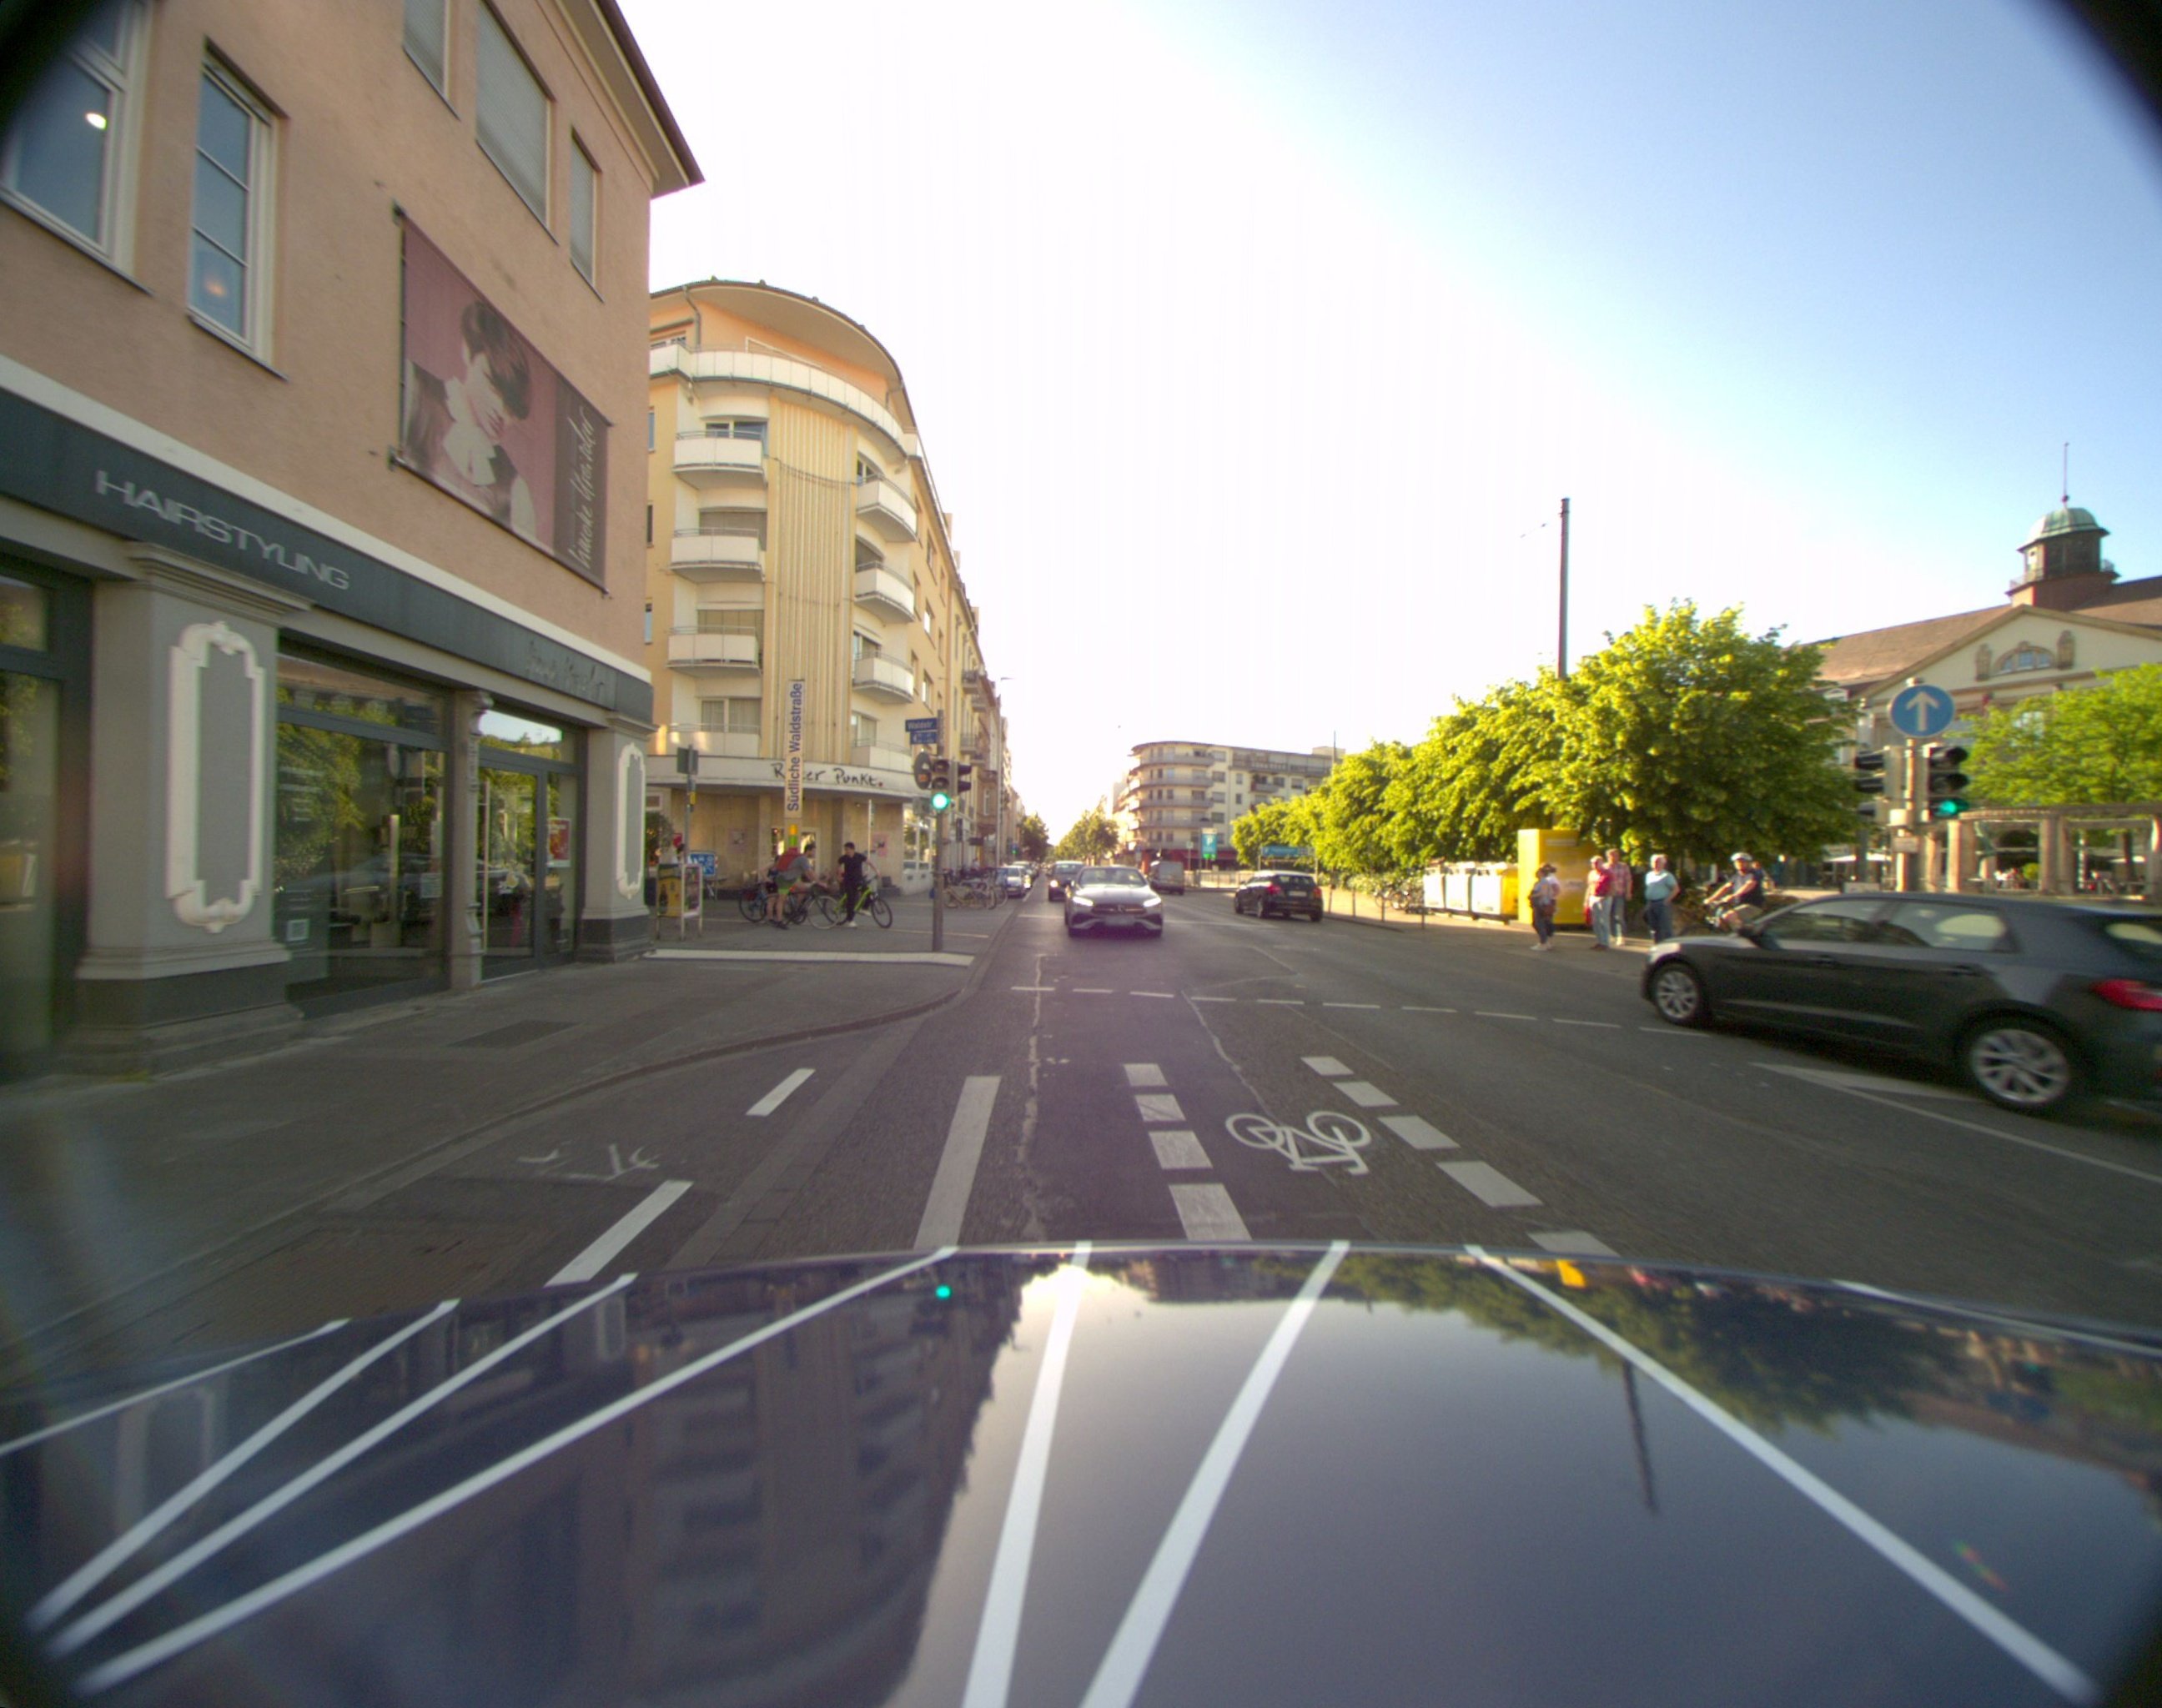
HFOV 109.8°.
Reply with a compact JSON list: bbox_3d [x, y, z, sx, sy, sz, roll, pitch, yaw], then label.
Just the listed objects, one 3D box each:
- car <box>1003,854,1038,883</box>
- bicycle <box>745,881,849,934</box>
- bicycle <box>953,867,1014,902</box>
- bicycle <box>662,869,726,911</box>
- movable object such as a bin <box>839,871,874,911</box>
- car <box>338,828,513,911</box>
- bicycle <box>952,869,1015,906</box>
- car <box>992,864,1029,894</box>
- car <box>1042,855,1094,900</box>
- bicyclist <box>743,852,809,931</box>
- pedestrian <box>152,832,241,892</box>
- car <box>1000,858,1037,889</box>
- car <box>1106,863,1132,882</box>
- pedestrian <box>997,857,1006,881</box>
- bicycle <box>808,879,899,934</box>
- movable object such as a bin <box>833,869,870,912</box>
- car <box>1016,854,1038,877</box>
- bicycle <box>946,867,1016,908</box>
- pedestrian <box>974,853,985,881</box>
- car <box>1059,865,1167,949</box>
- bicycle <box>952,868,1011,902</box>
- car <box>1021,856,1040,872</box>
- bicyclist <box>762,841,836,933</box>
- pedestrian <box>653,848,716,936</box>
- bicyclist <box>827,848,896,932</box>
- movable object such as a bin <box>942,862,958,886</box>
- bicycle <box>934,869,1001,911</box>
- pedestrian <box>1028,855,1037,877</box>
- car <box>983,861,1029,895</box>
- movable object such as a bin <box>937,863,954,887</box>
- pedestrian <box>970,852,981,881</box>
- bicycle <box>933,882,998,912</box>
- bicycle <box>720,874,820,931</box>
[{"bbox_3d":[-4.084,0.960,50.856,2.000,1.867,3.997,1,0,-8],"label":"car"},{"bbox_3d":[-5.607,1.057,15.045,1.820,0.988,0.565,1,0,0],"label":"bicycle"},{"bbox_3d":[-3.405,1.069,26.571,2.027,1.143,0.715,2,0,-2],"label":"bicycle"},{"bbox_3d":[-10.579,0.955,20.841,0.560,1.082,1.752,1,0,14],"label":"bicycle"},{"bbox_3d":[-6.295,1.032,21.319,0.810,1.106,0.620,1,0,-4],"label":"movable object such as a bin"},{"bbox_3d":[-20.855,0.415,24.211,4.686,2.455,2.072,0,2,19],"label":"car"},{"bbox_3d":[-3.225,1.110,25.266,1.962,1.150,0.755,1,0,-2],"label":"bicycle"},{"bbox_3d":[-3.584,1.227,38.791,1.742,1.417,3.998,1,0,-5],"label":"car"},{"bbox_3d":[-0.580,0.919,31.844,1.999,1.718,3.999,1,0,-2],"label":"car"},{"bbox_3d":[-6.329,0.748,15.769,1.028,1.574,0.727,1,0,19],"label":"bicyclist"},{"bbox_3d":[-22.579,0.177,19.422,1.082,1.472,1.113,1,1,15],"label":"pedestrian"},{"bbox_3d":[-3.666,1.089,44.667,1.999,1.724,4.197,1,0,-4],"label":"car"},{"bbox_3d":[3.442,1.682,69.623,1.846,1.537,4.238,3,0,-4],"label":"car"},{"bbox_3d":[-6.282,1.207,60.258,0.695,1.895,0.906,1,0,-5],"label":"pedestrian"},{"bbox_3d":[-4.748,1.072,15.813,1.910,1.014,0.561,2,0,25],"label":"bicycle"},{"bbox_3d":[-6.232,0.983,20.646,0.810,1.106,0.620,1,0,-4],"label":"movable object such as a bin"},{"bbox_3d":[-4.967,1.051,70.379,1.999,2.002,4.191,1,0,-3],"label":"car"},{"bbox_3d":[-3.153,1.063,24.001,2.143,1.236,0.710,1,0,-7],"label":"bicycle"},{"bbox_3d":[-6.913,0.889,51.678,0.695,1.895,0.906,1,0,-5],"label":"pedestrian"},{"bbox_3d":[0.558,0.986,15.818,1.910,1.453,4.363,-1,0,-1],"label":"car"},{"bbox_3d":[-3.593,1.112,27.634,2.049,1.174,0.683,1,0,-2],"label":"bicycle"},{"bbox_3d":[-5.735,1.134,86.979,1.999,1.717,3.999,1,0,-2],"label":"car"},{"bbox_3d":[-5.548,0.646,15.003,1.140,1.751,0.753,1,0,2],"label":"bicyclist"},{"bbox_3d":[-7.675,0.716,14.710,0.813,1.649,0.768,1,0,34],"label":"pedestrian"},{"bbox_3d":[-4.529,0.716,15.690,1.129,1.675,0.727,1,0,25],"label":"bicyclist"},{"bbox_3d":[-6.861,1.016,39.755,0.703,1.232,0.960,1,0,-2],"label":"movable object such as a bin"},{"bbox_3d":[-3.412,1.086,23.002,1.947,1.204,0.932,1,0,-8],"label":"bicycle"},{"bbox_3d":[-4.224,1.061,66.253,0.610,1.912,0.714,1,0,10],"label":"pedestrian"},{"bbox_3d":[-3.291,1.046,34.068,1.693,1.390,4.000,1,0,-1],"label":"car"},{"bbox_3d":[-6.774,1.043,37.990,0.703,1.153,0.960,1,0,-2],"label":"movable object such as a bin"},{"bbox_3d":[-7.252,0.860,52.409,0.673,1.942,0.614,1,0,-6],"label":"pedestrian"},{"bbox_3d":[-3.387,1.259,22.437,1.848,0.826,0.741,1,0,-8],"label":"bicycle"},{"bbox_3d":[-6.494,0.994,15.887,1.915,1.090,0.734,1,0,19],"label":"bicycle"}]
